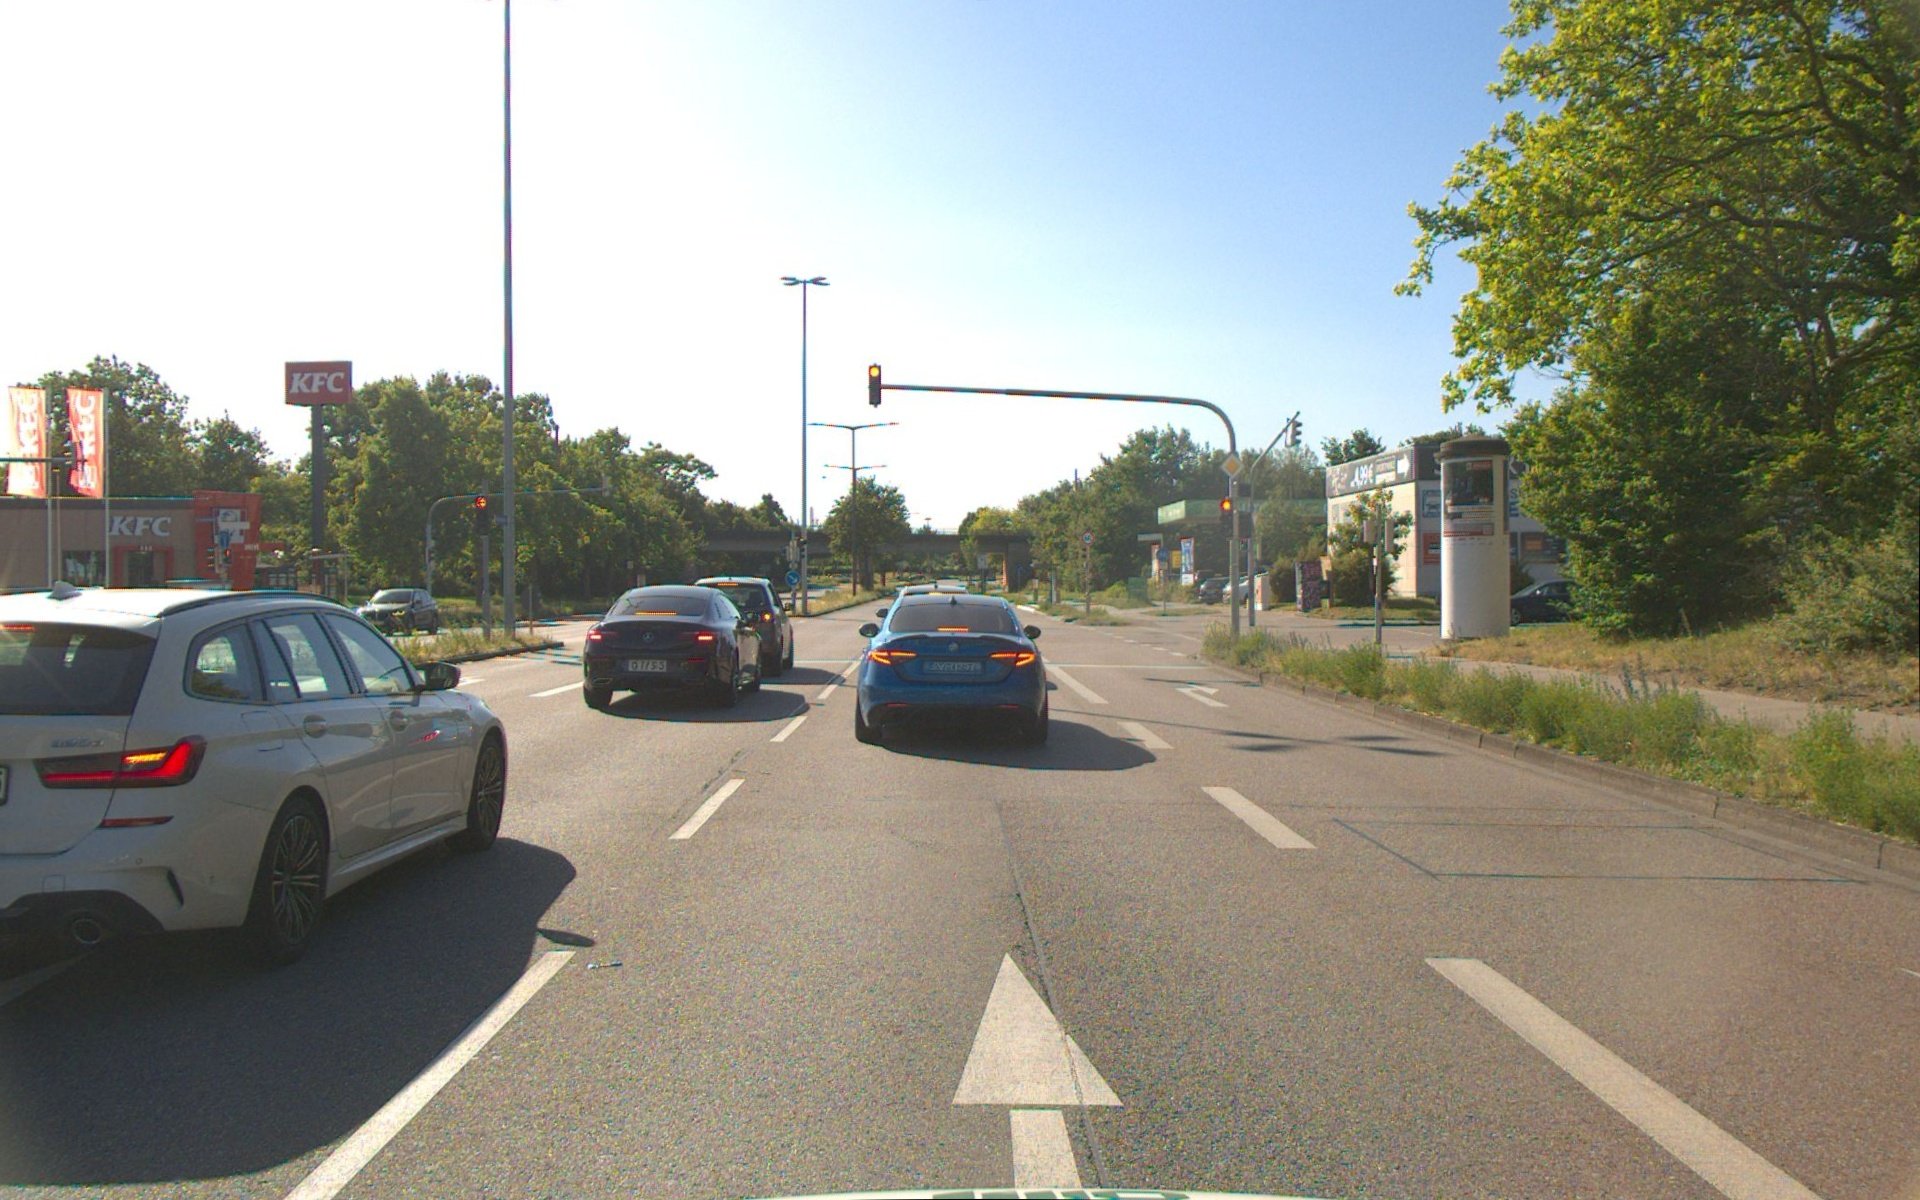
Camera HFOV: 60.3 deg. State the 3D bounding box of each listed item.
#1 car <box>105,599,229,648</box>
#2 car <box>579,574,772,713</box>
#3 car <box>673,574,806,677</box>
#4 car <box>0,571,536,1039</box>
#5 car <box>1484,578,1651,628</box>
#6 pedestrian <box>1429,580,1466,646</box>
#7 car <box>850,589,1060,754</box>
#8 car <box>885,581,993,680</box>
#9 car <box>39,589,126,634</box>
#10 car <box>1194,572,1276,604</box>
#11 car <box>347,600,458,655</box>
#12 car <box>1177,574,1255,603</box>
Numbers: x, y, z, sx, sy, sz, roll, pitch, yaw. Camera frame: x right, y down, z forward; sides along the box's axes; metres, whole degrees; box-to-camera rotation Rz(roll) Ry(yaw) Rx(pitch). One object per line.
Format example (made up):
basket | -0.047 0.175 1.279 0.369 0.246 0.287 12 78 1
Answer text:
car | -26.846 0.797 56.142 3.712 1.586 1.985 1 0 -25
car | -3.520 0.476 21.248 1.775 1.578 4.542 1 0 -1
car | -3.650 0.408 28.046 1.776 1.578 4.352 1 0 -2
car | -3.428 0.659 7.661 1.775 1.512 4.595 1 0 -1
car | 19.555 0.097 53.338 4.722 1.493 1.758 1 0 -2
pedestrian | 12.572 0.334 42.662 0.800 1.698 0.514 1 0 -1
car | -0.009 0.649 16.771 1.870 1.447 3.719 1 0 1
car | -0.298 0.479 27.828 1.669 1.523 3.719 1 0 1
car | -35.743 0.453 67.332 4.026 1.770 1.922 1 0 43
car | 14.219 -0.625 85.529 3.905 1.579 2.000 1 0 0
car | -19.345 0.907 57.581 1.764 1.756 4.326 1 1 11
car | 14.550 -0.646 94.115 3.925 1.579 1.990 1 0 -18
